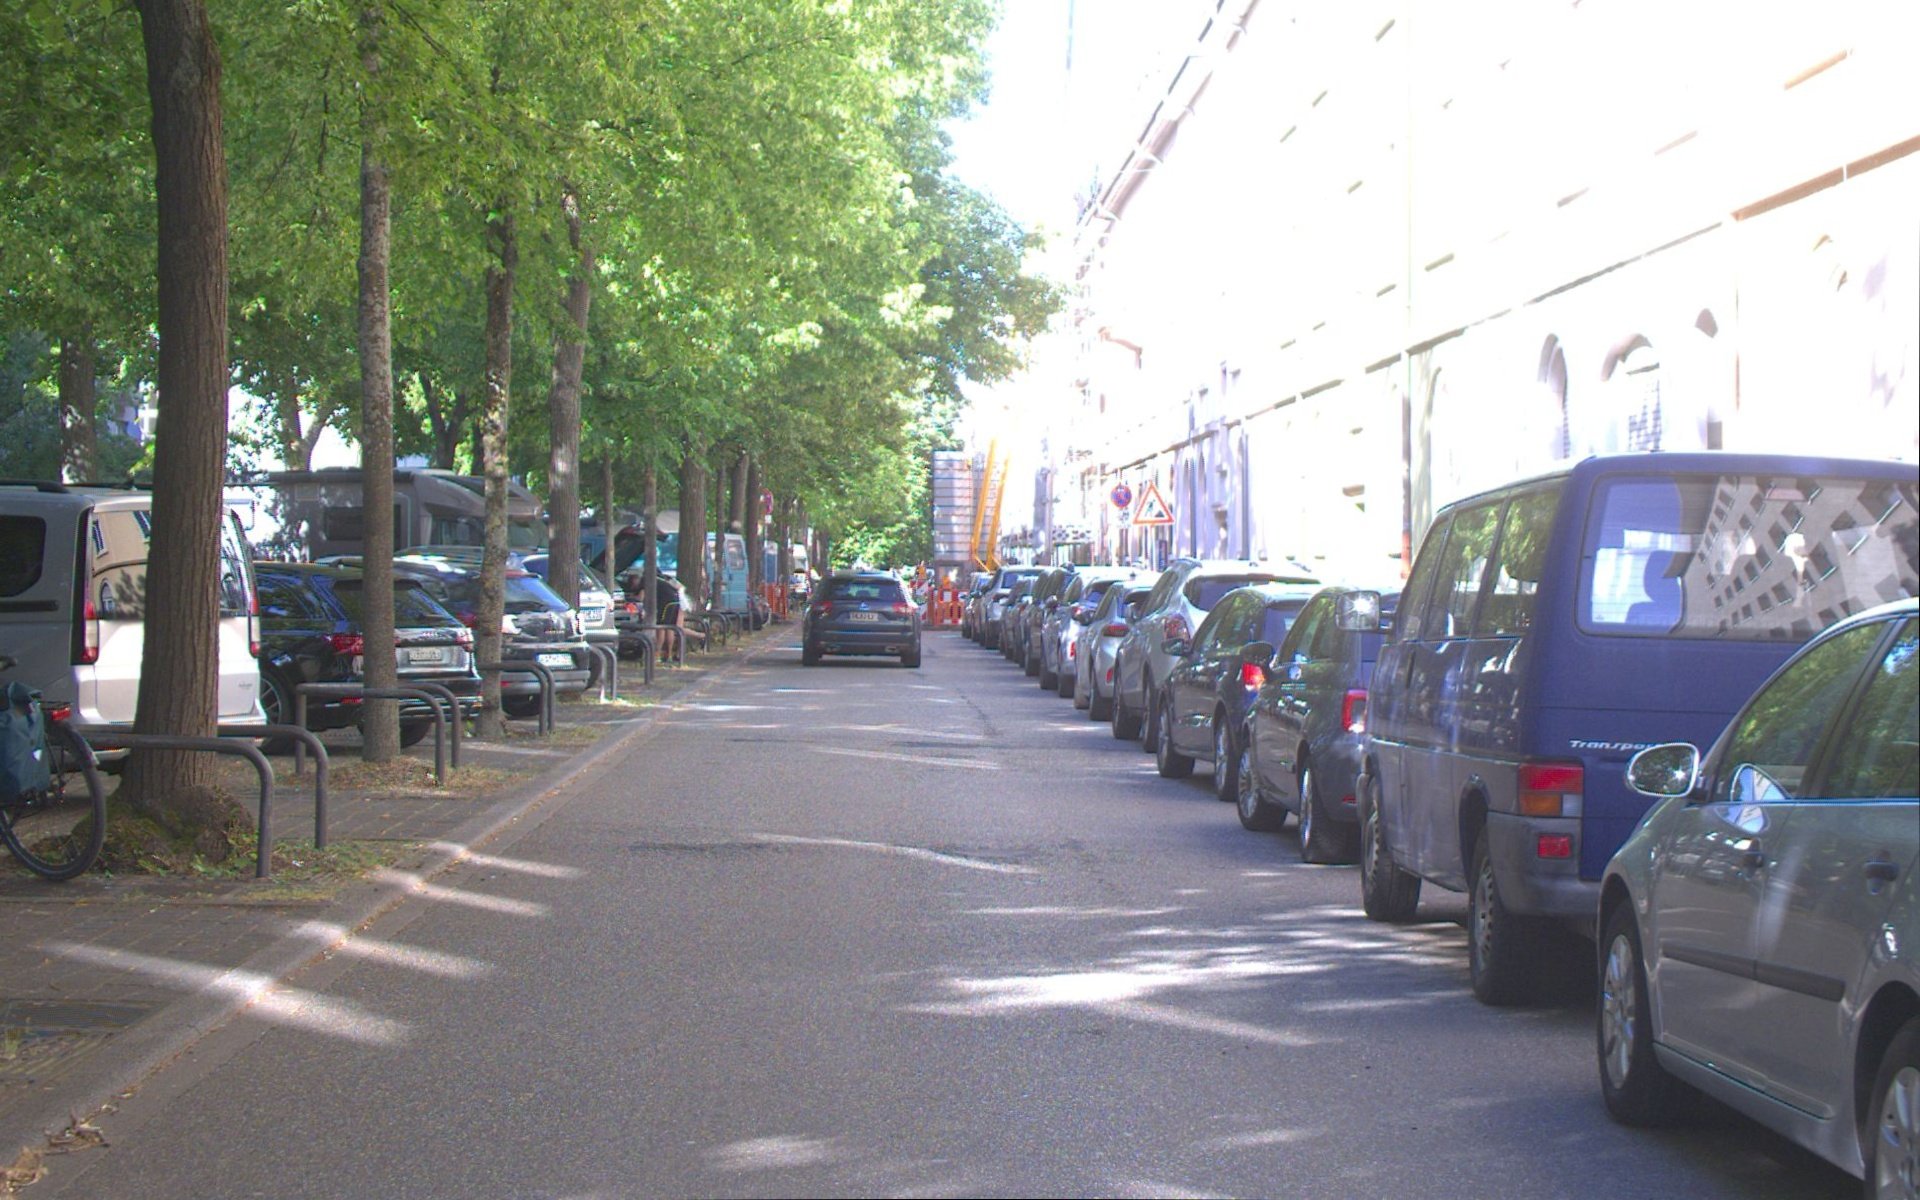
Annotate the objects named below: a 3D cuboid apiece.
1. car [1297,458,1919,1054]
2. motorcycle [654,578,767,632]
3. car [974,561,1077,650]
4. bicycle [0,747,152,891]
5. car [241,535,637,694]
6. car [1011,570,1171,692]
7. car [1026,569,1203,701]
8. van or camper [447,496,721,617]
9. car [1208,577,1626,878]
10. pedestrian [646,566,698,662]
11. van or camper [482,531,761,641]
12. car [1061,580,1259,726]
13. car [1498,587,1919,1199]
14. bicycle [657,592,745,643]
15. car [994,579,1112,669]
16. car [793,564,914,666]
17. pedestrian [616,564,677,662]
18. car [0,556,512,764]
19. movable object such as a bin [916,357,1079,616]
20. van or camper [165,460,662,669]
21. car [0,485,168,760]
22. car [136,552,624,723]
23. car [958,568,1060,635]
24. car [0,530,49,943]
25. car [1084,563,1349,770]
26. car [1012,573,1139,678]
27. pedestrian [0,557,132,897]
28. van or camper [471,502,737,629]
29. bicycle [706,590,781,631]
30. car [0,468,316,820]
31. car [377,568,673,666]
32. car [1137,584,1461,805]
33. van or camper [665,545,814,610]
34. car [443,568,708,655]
[{"bbox_3d":[2.588,0.479,13.445,1.948,1.894,4.846,1,1,-1],"label":"car"},{"bbox_3d":[-5.873,0.116,81.130,2.550,1.254,0.762,1,0,7],"label":"motorcycle"},{"bbox_3d":[1.258,0.084,68.061,1.816,1.668,4.673,1,1,-1],"label":"car"},{"bbox_3d":[-4.266,0.929,14.967,1.611,0.556,0.409,1,1,30],"label":"bicycle"},{"bbox_3d":[-5.861,0.136,38.598,4.140,1.673,1.756,1,1,28],"label":"car"},{"bbox_3d":[1.766,0.397,47.559,1.722,1.591,4.159,1,1,-5],"label":"car"},{"bbox_3d":[1.847,0.388,42.288,1.722,1.523,4.159,1,1,-4],"label":"car"},{"bbox_3d":[-8.460,-0.973,77.140,5.877,2.628,2.251,1,1,28],"label":"van or camper"},{"bbox_3d":[2.442,0.633,19.166,1.621,1.493,3.596,1,1,-4],"label":"car"},{"bbox_3d":[-4.389,0.203,52.454,0.615,1.451,0.519,1,0,22],"label":"pedestrian"},{"bbox_3d":[-7.186,-0.321,72.916,5.504,2.268,2.218,0,1,23],"label":"van or camper"},{"bbox_3d":[2.065,0.522,36.493,1.722,1.427,4.158,1,1,-2],"label":"car"},{"bbox_3d":[2.553,0.740,8.056,1.762,1.495,4.238,1,1,-2],"label":"car"},{"bbox_3d":[-5.219,0.353,69.272,1.719,1.002,0.511,0,0,-31],"label":"bicycle"},{"bbox_3d":[1.513,0.381,57.213,1.630,1.408,4.089,1,1,-3],"label":"car"},{"bbox_3d":[-1.667,0.205,53.042,1.796,1.498,3.586,0,1,-2],"label":"car"},{"bbox_3d":[-4.737,0.192,51.958,0.710,1.451,0.595,1,0,22],"label":"pedestrian"},{"bbox_3d":[-5.774,0.409,26.374,4.483,1.450,1.784,1,0,31],"label":"car"},{"bbox_3d":[1.000,-2.986,91.274,3.485,6.736,2.364,1,0,31],"label":"movable object such as a bin"},{"bbox_3d":[-8.117,-0.538,50.793,7.236,2.920,2.311,0,1,26],"label":"van or camper"},{"bbox_3d":[-8.097,0.146,24.444,4.598,1.826,2.016,0,0,28],"label":"car"},{"bbox_3d":[-5.445,0.326,32.086,4.417,1.457,1.713,1,0,31],"label":"car"},{"bbox_3d":[1.073,0.008,77.368,1.993,1.404,4.501,1,1,-2],"label":"car"},{"bbox_3d":[-5.576,0.449,12.948,4.102,1.501,1.730,1,0,30],"label":"car"},{"bbox_3d":[2.176,0.523,30.205,1.722,1.680,4.159,1,1,-4],"label":"car"},{"bbox_3d":[1.744,0.371,52.802,1.630,1.529,3.593,1,1,-3],"label":"car"},{"bbox_3d":[-4.102,0.513,14.475,0.752,1.392,0.927,1,1,30],"label":"pedestrian"},{"bbox_3d":[-9.352,-0.907,90.235,6.666,3.230,2.492,1,1,27],"label":"van or camper"},{"bbox_3d":[-5.509,0.265,87.587,1.899,1.003,0.430,1,0,22],"label":"bicycle"},{"bbox_3d":[-6.263,0.189,20.054,4.515,1.858,2.078,1,0,24],"label":"car"},{"bbox_3d":[-6.741,0.241,53.190,4.321,1.419,1.673,1,1,26],"label":"car"},{"bbox_3d":[2.292,0.603,24.126,1.549,1.389,3.862,1,1,-5],"label":"car"},{"bbox_3d":[-8.460,-0.872,131.935,5.342,2.466,2.290,1,1,31],"label":"van or camper"},{"bbox_3d":[-6.761,0.185,60.318,4.482,1.438,1.729,1,1,31],"label":"car"}]
